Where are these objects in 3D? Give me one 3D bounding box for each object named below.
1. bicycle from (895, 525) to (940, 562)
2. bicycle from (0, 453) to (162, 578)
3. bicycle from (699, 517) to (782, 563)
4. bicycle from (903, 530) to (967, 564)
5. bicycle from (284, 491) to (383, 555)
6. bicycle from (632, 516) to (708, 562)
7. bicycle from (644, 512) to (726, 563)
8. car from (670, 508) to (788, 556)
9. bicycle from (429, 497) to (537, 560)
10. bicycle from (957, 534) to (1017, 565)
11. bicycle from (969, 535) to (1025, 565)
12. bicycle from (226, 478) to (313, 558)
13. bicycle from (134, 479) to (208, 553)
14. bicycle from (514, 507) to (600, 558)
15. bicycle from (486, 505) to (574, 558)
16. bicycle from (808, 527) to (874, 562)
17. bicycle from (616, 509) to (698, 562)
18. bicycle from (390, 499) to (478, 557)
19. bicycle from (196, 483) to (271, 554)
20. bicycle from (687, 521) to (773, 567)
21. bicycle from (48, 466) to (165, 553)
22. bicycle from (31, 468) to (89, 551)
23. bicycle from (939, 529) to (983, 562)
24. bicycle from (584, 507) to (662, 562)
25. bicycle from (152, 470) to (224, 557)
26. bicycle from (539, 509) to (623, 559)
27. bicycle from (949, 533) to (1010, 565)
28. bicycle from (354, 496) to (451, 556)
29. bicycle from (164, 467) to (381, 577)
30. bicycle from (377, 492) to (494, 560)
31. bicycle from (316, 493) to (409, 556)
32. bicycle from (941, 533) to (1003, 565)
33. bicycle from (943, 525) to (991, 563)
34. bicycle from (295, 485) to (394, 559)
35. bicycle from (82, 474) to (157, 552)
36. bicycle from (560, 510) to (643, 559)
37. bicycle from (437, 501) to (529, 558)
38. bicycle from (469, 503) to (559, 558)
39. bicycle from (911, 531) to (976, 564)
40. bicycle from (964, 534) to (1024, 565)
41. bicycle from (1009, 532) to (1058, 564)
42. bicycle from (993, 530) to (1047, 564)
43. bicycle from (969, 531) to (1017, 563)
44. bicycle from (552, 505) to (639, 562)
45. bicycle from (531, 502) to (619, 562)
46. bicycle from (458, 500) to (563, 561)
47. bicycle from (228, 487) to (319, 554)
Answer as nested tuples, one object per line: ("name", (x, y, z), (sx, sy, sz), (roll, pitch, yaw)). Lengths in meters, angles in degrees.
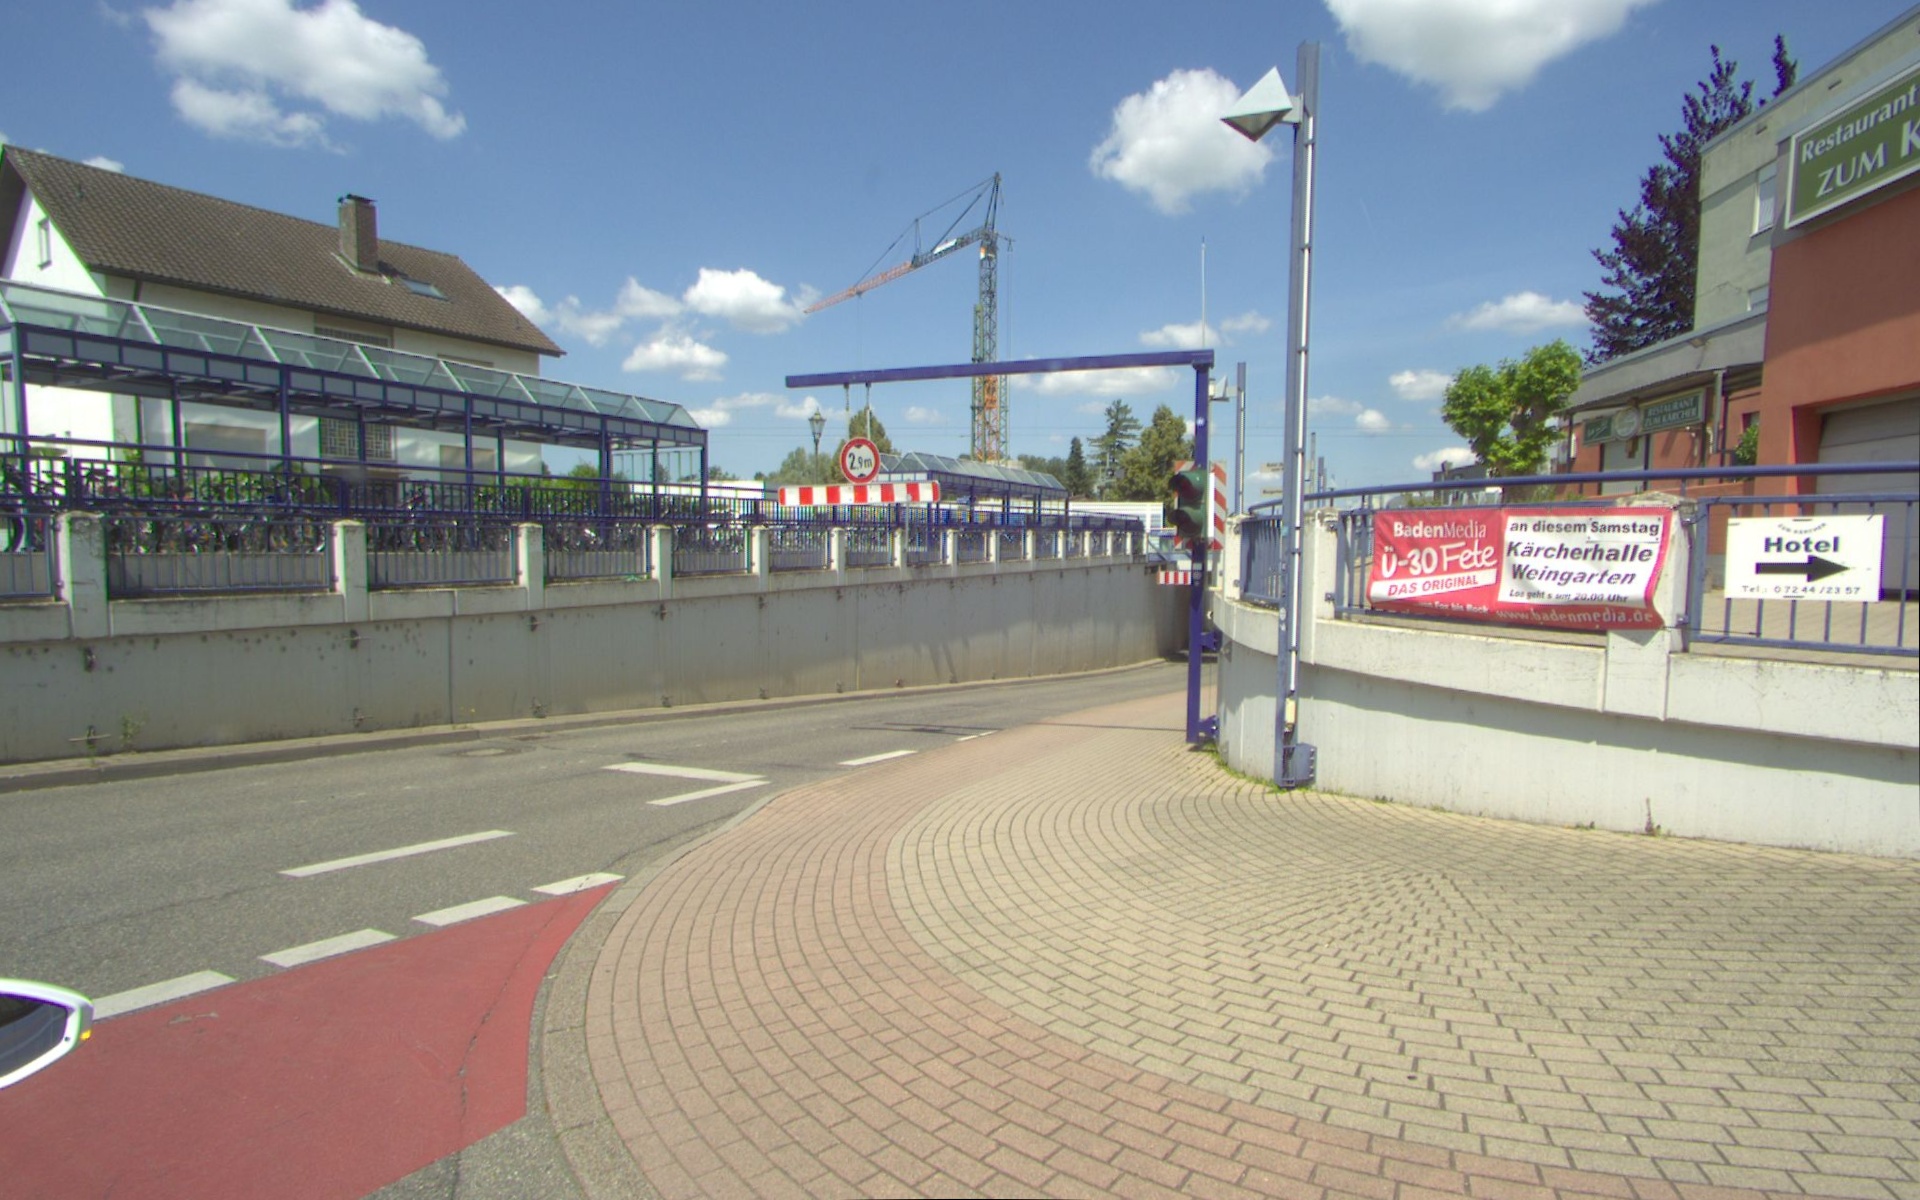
("bicycle", (-1.421, -1.876, 33.219), (1.580, 1.174, 0.384), (3, 4, 37))
("bicycle", (-8.845, -0.785, 9.438), (0.327, 1.141, 2.113), (3, 3, 27))
("bicycle", (-4.975, -1.358, 22.623), (2.009, 1.009, 0.542), (3, 3, 32))
("bicycle", (-0.777, -1.638, 30.969), (1.992, 1.009, 0.436), (2, 3, 25))
("bicycle", (-10.331, -1.257, 16.491), (1.935, 1.009, 0.473), (2, 3, 28))
("bicycle", (-6.705, -1.410, 23.066), (2.010, 1.009, 0.542), (3, 3, 35))
("bicycle", (-5.744, -1.304, 20.844), (2.012, 1.009, 0.541), (3, 3, 38))
("car", (-8.634, -2.541, 37.472), (3.933, 1.701, 1.993), (2, 3, 24))
("bicycle", (-7.993, -1.187, 16.741), (2.155, 1.009, 0.531), (3, 3, 31))
("bicycle", (0.906, -1.723, 33.975), (1.992, 1.009, 0.510), (2, 3, 25))
("bicycle", (1.275, -1.755, 34.990), (1.891, 1.009, 0.510), (2, 3, 25))
("bicycle", (-9.382, -1.090, 13.576), (2.076, 1.009, 0.433), (3, 4, 40))
("bicycle", (-11.556, -1.209, 14.641), (1.940, 1.009, 0.371), (3, 3, 38))
("bicycle", (-8.266, -1.374, 20.516), (1.935, 1.009, 0.518), (2, 3, 28))
("bicycle", (-8.592, -1.360, 19.997), (1.935, 1.009, 0.518), (2, 3, 28))
("bicycle", (-3.551, -1.647, 29.810), (1.992, 1.009, 0.510), (2, 3, 25))
("bicycle", (-6.098, -1.282, 20.105), (2.012, 1.009, 0.513), (3, 3, 38))
("bicycle", (-9.566, -1.309, 18.199), (1.773, 1.009, 0.518), (2, 3, 28))
("bicycle", (-11.033, -1.220, 15.180), (1.940, 1.009, 0.371), (3, 3, 38))
("bicycle", (-5.210, -1.263, 22.650), (2.127, 1.009, 0.436), (2, 3, 28))
("bicycle", (-10.438, -1.092, 12.225), (2.042, 1.009, 0.331), (2, 3, 28))
("bicycle", (-11.802, -1.153, 13.110), (0.452, 1.009, 1.868), (-2, 4, -45))
("bicycle", (0.026, -1.967, 36.269), (1.575, 1.174, 0.385), (2, 3, 26))
("bicycle", (-6.588, -1.269, 19.533), (2.014, 1.009, 0.513), (3, 4, 41))
("bicycle", (-9.735, -1.059, 12.597), (2.079, 1.009, 0.432), (3, 4, 45))
("bicycle", (-7.961, -1.388, 21.019), (1.935, 1.009, 0.518), (2, 3, 28))
("bicycle", (0.661, -1.709, 33.499), (1.992, 1.009, 0.510), (2, 3, 25))
("bicycle", (-9.778, -1.288, 17.547), (1.935, 1.009, 0.518), (2, 3, 28))
("bicycle", (-7.797, -0.845, 11.492), (0.386, 1.141, 2.113), (3, 3, 27))
("bicycle", (-8.292, -1.156, 15.790), (2.246, 1.009, 0.531), (3, 3, 31))
("bicycle", (-10.093, -1.269, 16.903), (1.935, 1.009, 0.413), (2, 3, 28))
("bicycle", (0.399, -1.693, 32.963), (1.992, 1.009, 0.510), (2, 3, 25))
("bicycle", (0.207, -1.801, 32.124), (1.580, 1.174, 0.426), (3, 3, 37))
("bicycle", (-9.046, -1.127, 14.668), (2.250, 1.009, 0.434), (3, 3, 37))
("bicycle", (-11.585, -1.176, 13.784), (1.940, 1.009, 0.371), (3, 3, 38))
("bicycle", (-7.701, -1.402, 21.504), (1.935, 1.009, 0.518), (2, 3, 28))
("bicycle", (-8.918, -1.316, 18.695), (1.935, 1.009, 0.518), (2, 3, 28))
("bicycle", (-8.635, -1.337, 19.378), (1.935, 1.009, 0.518), (2, 3, 28))
("bicycle", (-0.529, -1.655, 31.535), (1.992, 1.009, 0.510), (2, 3, 25))
("bicycle", (1.171, -1.733, 34.368), (1.992, 1.009, 0.510), (2, 3, 25))
("bicycle", (2.793, -1.989, 38.216), (1.793, 1.174, 0.510), (2, 3, 26))
("bicycle", (2.191, -1.935, 36.518), (1.891, 1.174, 0.510), (2, 3, 26))
("bicycle", (1.264, -2.025, 38.345), (1.793, 1.174, 0.510), (2, 3, 26))
("bicycle", (-6.889, -1.250, 18.899), (2.011, 1.009, 0.514), (3, 3, 36))
("bicycle", (-6.966, -1.219, 18.072), (2.162, 1.009, 0.576), (3, 4, 42))
("bicycle", (-7.858, -1.212, 17.457), (2.155, 1.009, 0.531), (3, 3, 31))
("bicycle", (-10.853, -1.241, 15.814), (1.936, 1.009, 0.425), (3, 3, 31))
